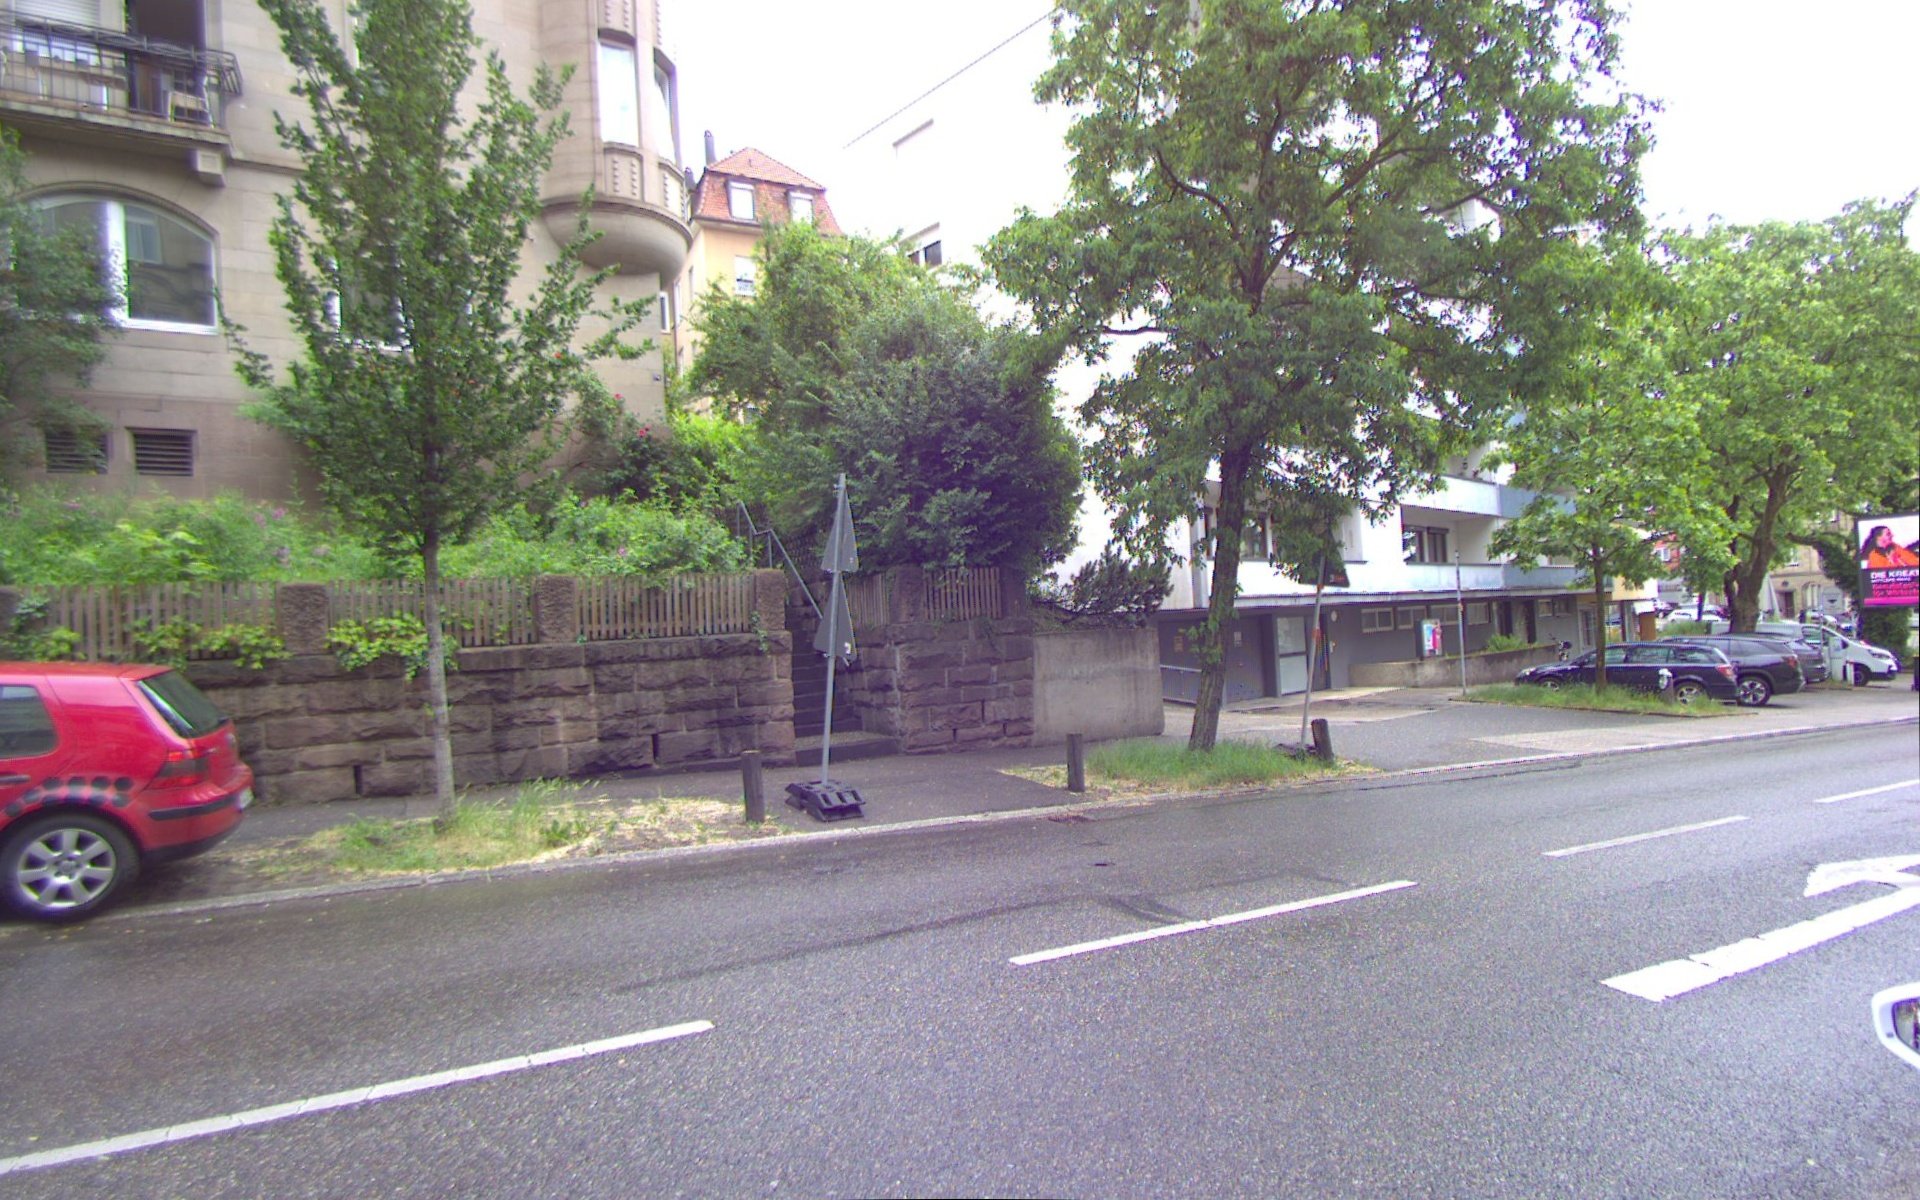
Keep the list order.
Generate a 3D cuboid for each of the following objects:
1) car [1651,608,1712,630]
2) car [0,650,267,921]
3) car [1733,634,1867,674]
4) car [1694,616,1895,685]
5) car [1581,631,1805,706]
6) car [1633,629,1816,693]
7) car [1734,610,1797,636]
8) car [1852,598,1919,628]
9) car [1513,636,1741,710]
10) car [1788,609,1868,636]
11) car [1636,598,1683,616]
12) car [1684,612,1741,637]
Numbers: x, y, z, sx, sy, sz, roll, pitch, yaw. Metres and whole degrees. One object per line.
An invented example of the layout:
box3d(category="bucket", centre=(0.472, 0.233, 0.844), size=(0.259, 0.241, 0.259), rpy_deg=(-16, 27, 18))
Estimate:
box3d(category="car", centre=(60.362, 1.608, 84.107), size=(1.961, 1.749, 4.249), rpy_deg=(-2, -1, -1))
box3d(category="car", centre=(-6.557, 1.054, 5.823), size=(4.015, 1.470, 1.606), rpy_deg=(1, -2, -30))
box3d(category="car", centre=(32.866, 2.087, 39.416), size=(3.925, 1.469, 1.761), rpy_deg=(-2, -3, 40))
box3d(category="car", centre=(27.679, 1.662, 33.522), size=(5.000, 2.132, 1.983), rpy_deg=(-2, -3, 40))
box3d(category="car", centre=(18.088, 1.690, 24.974), size=(4.312, 1.694, 1.848), rpy_deg=(-3, -4, 38))
box3d(category="car", centre=(23.148, 1.796, 30.534), size=(4.305, 1.807, 1.931), rpy_deg=(-2, -3, 40))
box3d(category="car", centre=(69.325, 1.969, 86.537), size=(1.961, 2.130, 4.291), rpy_deg=(-1, 1, -1))
box3d(category="car", centre=(69.337, 0.943, 74.800), size=(1.961, 2.130, 4.291), rpy_deg=(-1, 1, -1))
box3d(category="car", centre=(15.689, 1.694, 23.753), size=(4.303, 1.594, 1.935), rpy_deg=(-3, -4, 38))
box3d(category="car", centre=(60.466, 1.547, 70.046), size=(1.960, 1.749, 4.250), rpy_deg=(-1, 0, 1))
box3d(category="car", centre=(68.759, 0.708, 98.847), size=(1.694, 1.711, 3.999), rpy_deg=(2, 0, -2))
box3d(category="car", centre=(69.115, 2.251, 92.286), size=(1.961, 2.130, 4.291), rpy_deg=(-1, 1, -1))
